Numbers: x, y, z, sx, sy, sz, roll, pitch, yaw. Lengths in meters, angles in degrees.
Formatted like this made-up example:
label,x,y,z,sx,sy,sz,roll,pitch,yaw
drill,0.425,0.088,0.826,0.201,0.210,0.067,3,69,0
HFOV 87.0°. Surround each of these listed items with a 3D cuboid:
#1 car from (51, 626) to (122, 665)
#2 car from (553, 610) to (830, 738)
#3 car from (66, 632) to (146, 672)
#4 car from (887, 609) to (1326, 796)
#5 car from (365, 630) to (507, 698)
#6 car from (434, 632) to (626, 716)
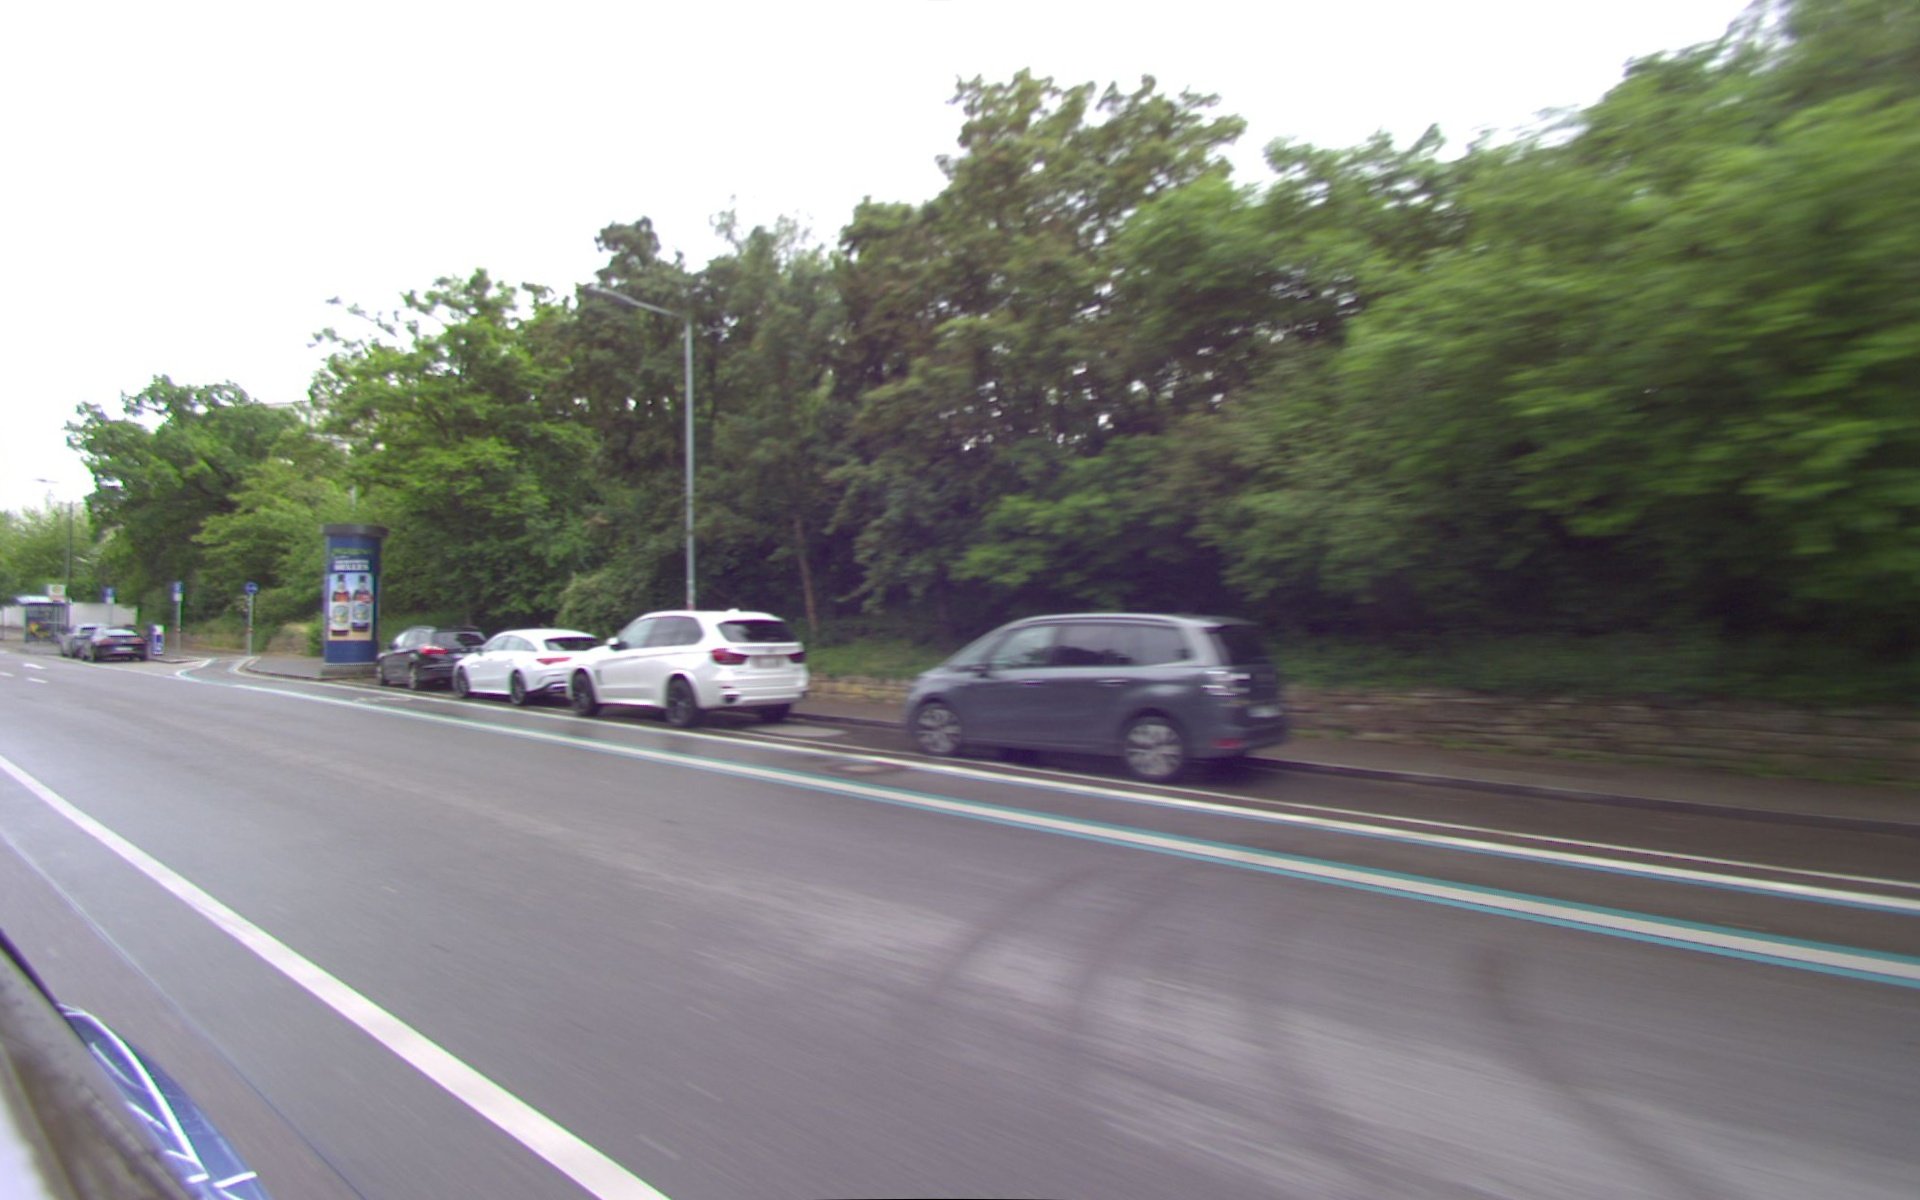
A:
label,x,y,z,sx,sy,sz,roll,pitch,yaw
car,-40.198,2.051,46.536,4.927,1.601,1.821,0,0,42
car,-4.492,1.080,16.443,4.959,1.779,1.972,-1,-1,42
car,-35.627,2.117,42.171,4.781,1.425,1.886,0,0,42
car,1.443,0.974,11.174,4.566,1.661,1.714,-2,-1,39
car,-12.695,1.473,24.384,4.589,1.456,1.729,-2,-2,45
car,-8.722,1.403,20.337,4.706,1.471,1.700,-2,-2,41
